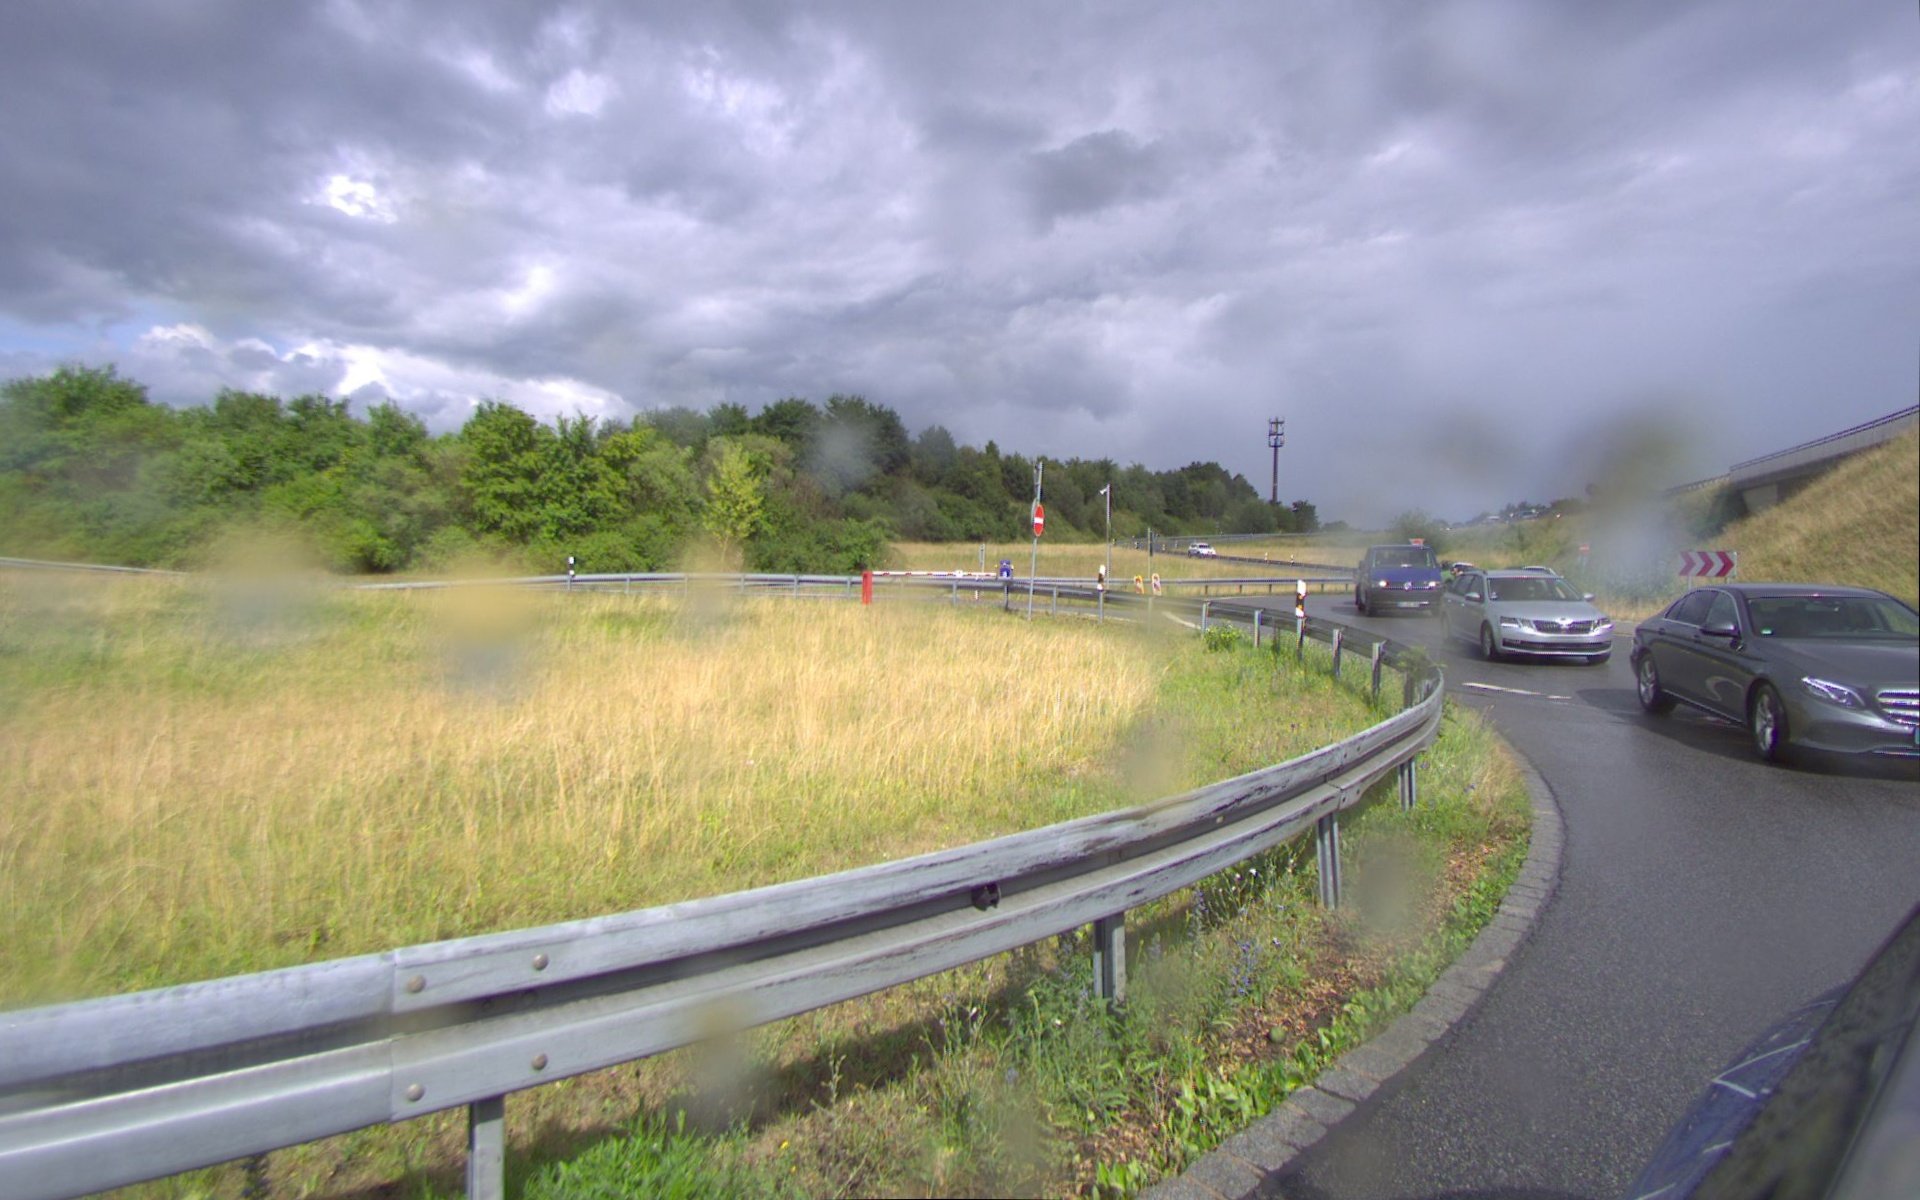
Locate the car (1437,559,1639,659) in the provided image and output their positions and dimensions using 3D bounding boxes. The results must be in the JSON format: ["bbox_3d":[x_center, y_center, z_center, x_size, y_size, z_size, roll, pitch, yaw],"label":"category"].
[{"bbox_3d":[9.639,0.043,17.283,1.771,1.415,4.335,0,3,13],"label":"car"}]

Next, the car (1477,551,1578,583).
[{"bbox_3d":[26.863,-1.575,47.969,3.774,1.492,1.619,0,3,1],"label":"car"}]

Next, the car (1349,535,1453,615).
[{"bbox_3d":[12.157,-0.811,28.244,1.867,1.937,5.658,1,4,16],"label":"car"}]

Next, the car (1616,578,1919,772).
[{"bbox_3d":[8.059,0.523,9.633,1.747,1.408,4.568,1,2,16],"label":"car"}]

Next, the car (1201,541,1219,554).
[{"bbox_3d":[26.311,-5.531,106.642,1.686,1.305,3.761,1,3,13],"label":"car"}]

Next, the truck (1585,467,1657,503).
[{"bbox_3d":[70.107,-12.157,107.633,3.111,3.233,9.255,0,3,11],"label":"truck"}]

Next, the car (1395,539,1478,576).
[{"bbox_3d":[20.865,-1.863,44.295,3.855,1.555,1.573,-1,3,-36],"label":"car"}]
